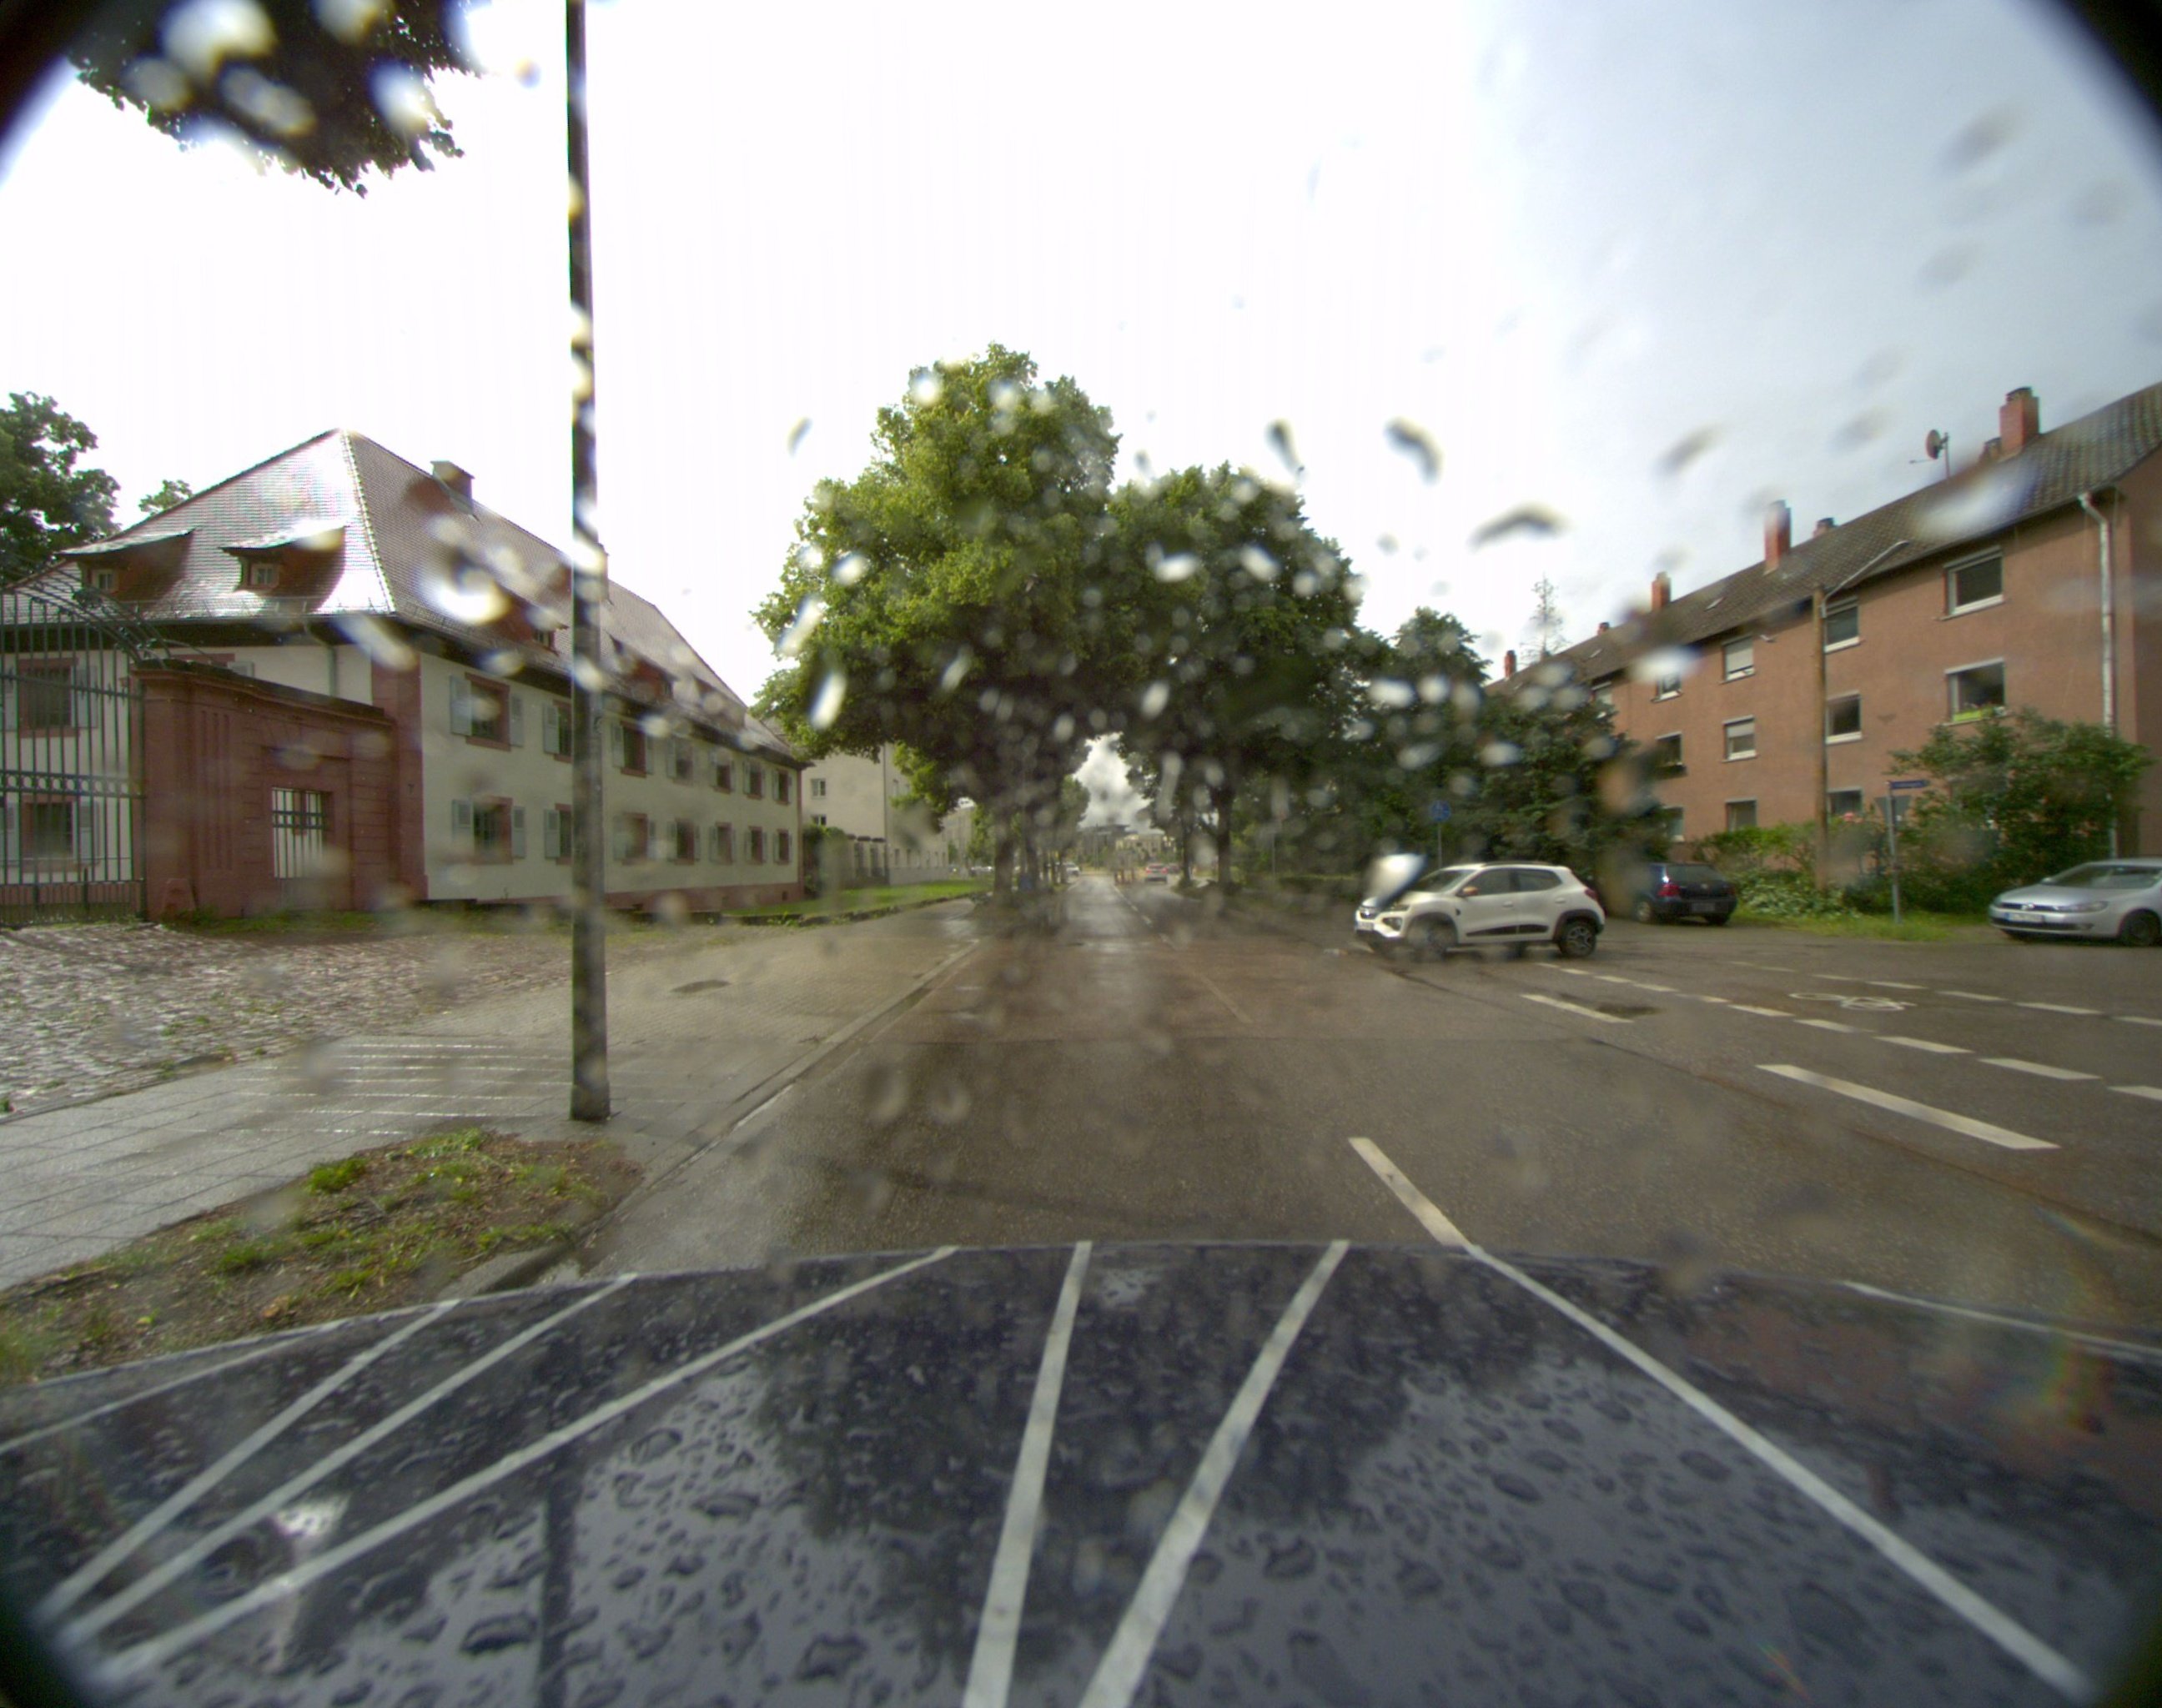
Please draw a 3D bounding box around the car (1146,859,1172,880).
[{"bbox_3d":[6.520,1.278,64.212,1.891,1.703,4.230,0,-1,2],"label":"car"}]

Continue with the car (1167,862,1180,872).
[{"bbox_3d":[14.329,2.068,117.896,1.683,1.499,3.795,-1,-1,4],"label":"car"}]

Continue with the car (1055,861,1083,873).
[{"bbox_3d":[-1.763,1.902,110.643,1.896,1.703,4.218,0,-1,-40],"label":"car"}]

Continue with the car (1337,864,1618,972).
[{"bbox_3d":[6.217,0.948,12.173,3.615,1.525,1.737,-1,0,-5],"label":"car"}]

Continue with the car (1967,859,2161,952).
[{"bbox_3d":[18.623,0.847,13.371,4.064,1.465,1.728,-1,0,-1],"label":"car"}]

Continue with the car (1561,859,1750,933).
[{"bbox_3d":[13.326,0.900,17.948,1.628,1.412,3.870,-2,1,2],"label":"car"}]
